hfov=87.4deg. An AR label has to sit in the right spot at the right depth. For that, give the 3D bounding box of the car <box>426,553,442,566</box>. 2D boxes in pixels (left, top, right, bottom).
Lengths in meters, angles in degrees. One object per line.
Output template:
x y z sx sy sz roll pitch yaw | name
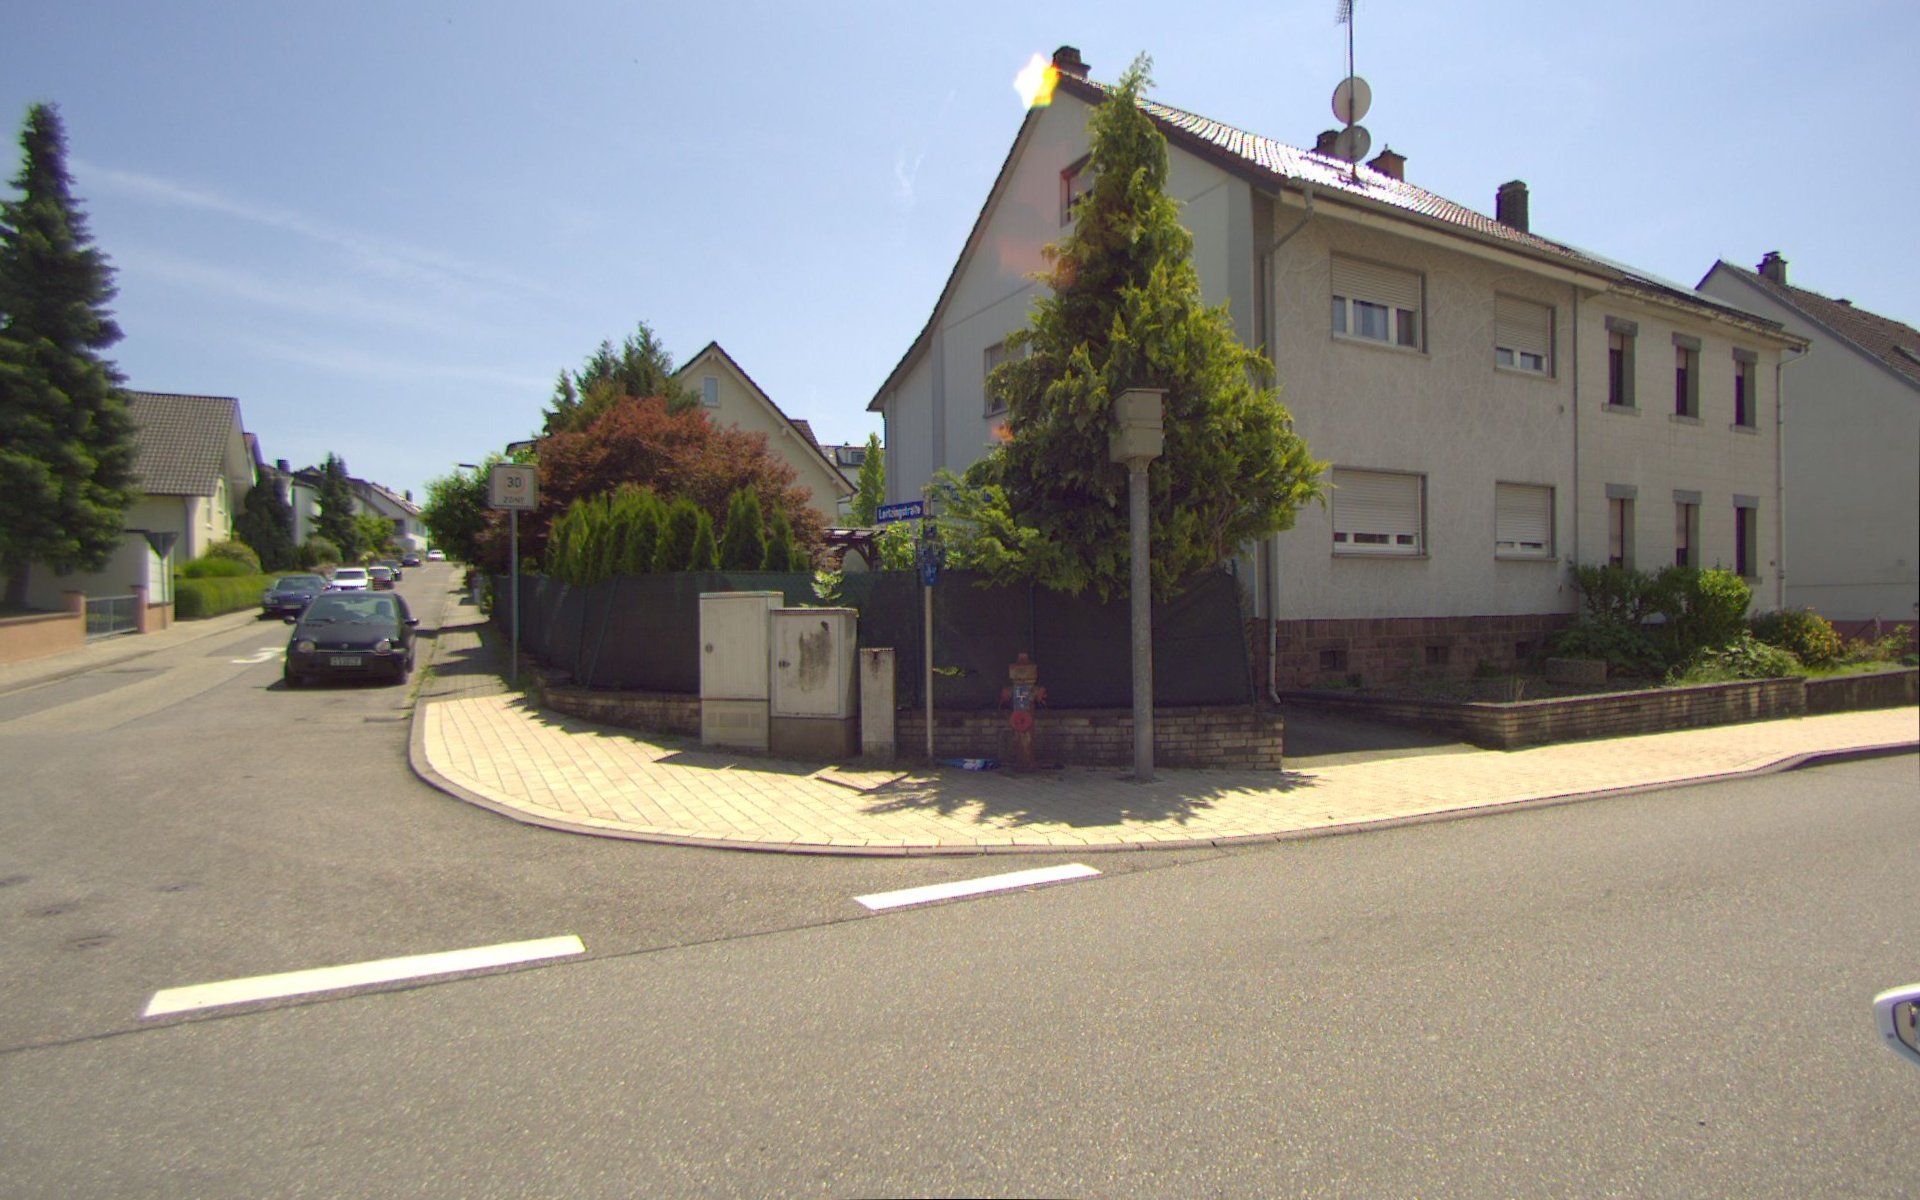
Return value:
-69.413 -5.334 132.579 1.705 1.573 3.649 1 1 -25 | car

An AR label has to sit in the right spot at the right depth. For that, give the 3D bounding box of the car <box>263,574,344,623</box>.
-23.129 -0.090 35.520 1.851 1.573 3.883 1 1 -25 | car

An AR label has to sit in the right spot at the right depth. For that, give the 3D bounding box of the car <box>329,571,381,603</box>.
-31.795 -0.720 52.882 1.904 1.573 4.274 1 1 -25 | car

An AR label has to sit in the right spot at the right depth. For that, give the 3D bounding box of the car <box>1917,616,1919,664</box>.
33.120 1.323 31.630 1.810 1.566 3.969 1 0 -29 | car

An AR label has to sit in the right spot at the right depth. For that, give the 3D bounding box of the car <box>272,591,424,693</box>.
-9.947 0.603 16.579 1.728 1.435 3.731 1 1 -25 | car

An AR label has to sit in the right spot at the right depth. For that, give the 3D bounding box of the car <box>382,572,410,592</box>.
-46.433 -1.506 82.736 1.705 1.573 3.649 1 1 -25 | car

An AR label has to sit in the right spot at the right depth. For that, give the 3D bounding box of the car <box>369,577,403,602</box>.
-39.030 -0.734 68.389 1.705 1.573 3.649 1 1 -25 | car

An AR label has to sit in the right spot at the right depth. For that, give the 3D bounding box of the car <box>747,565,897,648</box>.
-3.238 0.136 22.731 1.975 1.691 4.325 1 0 -28 | car
